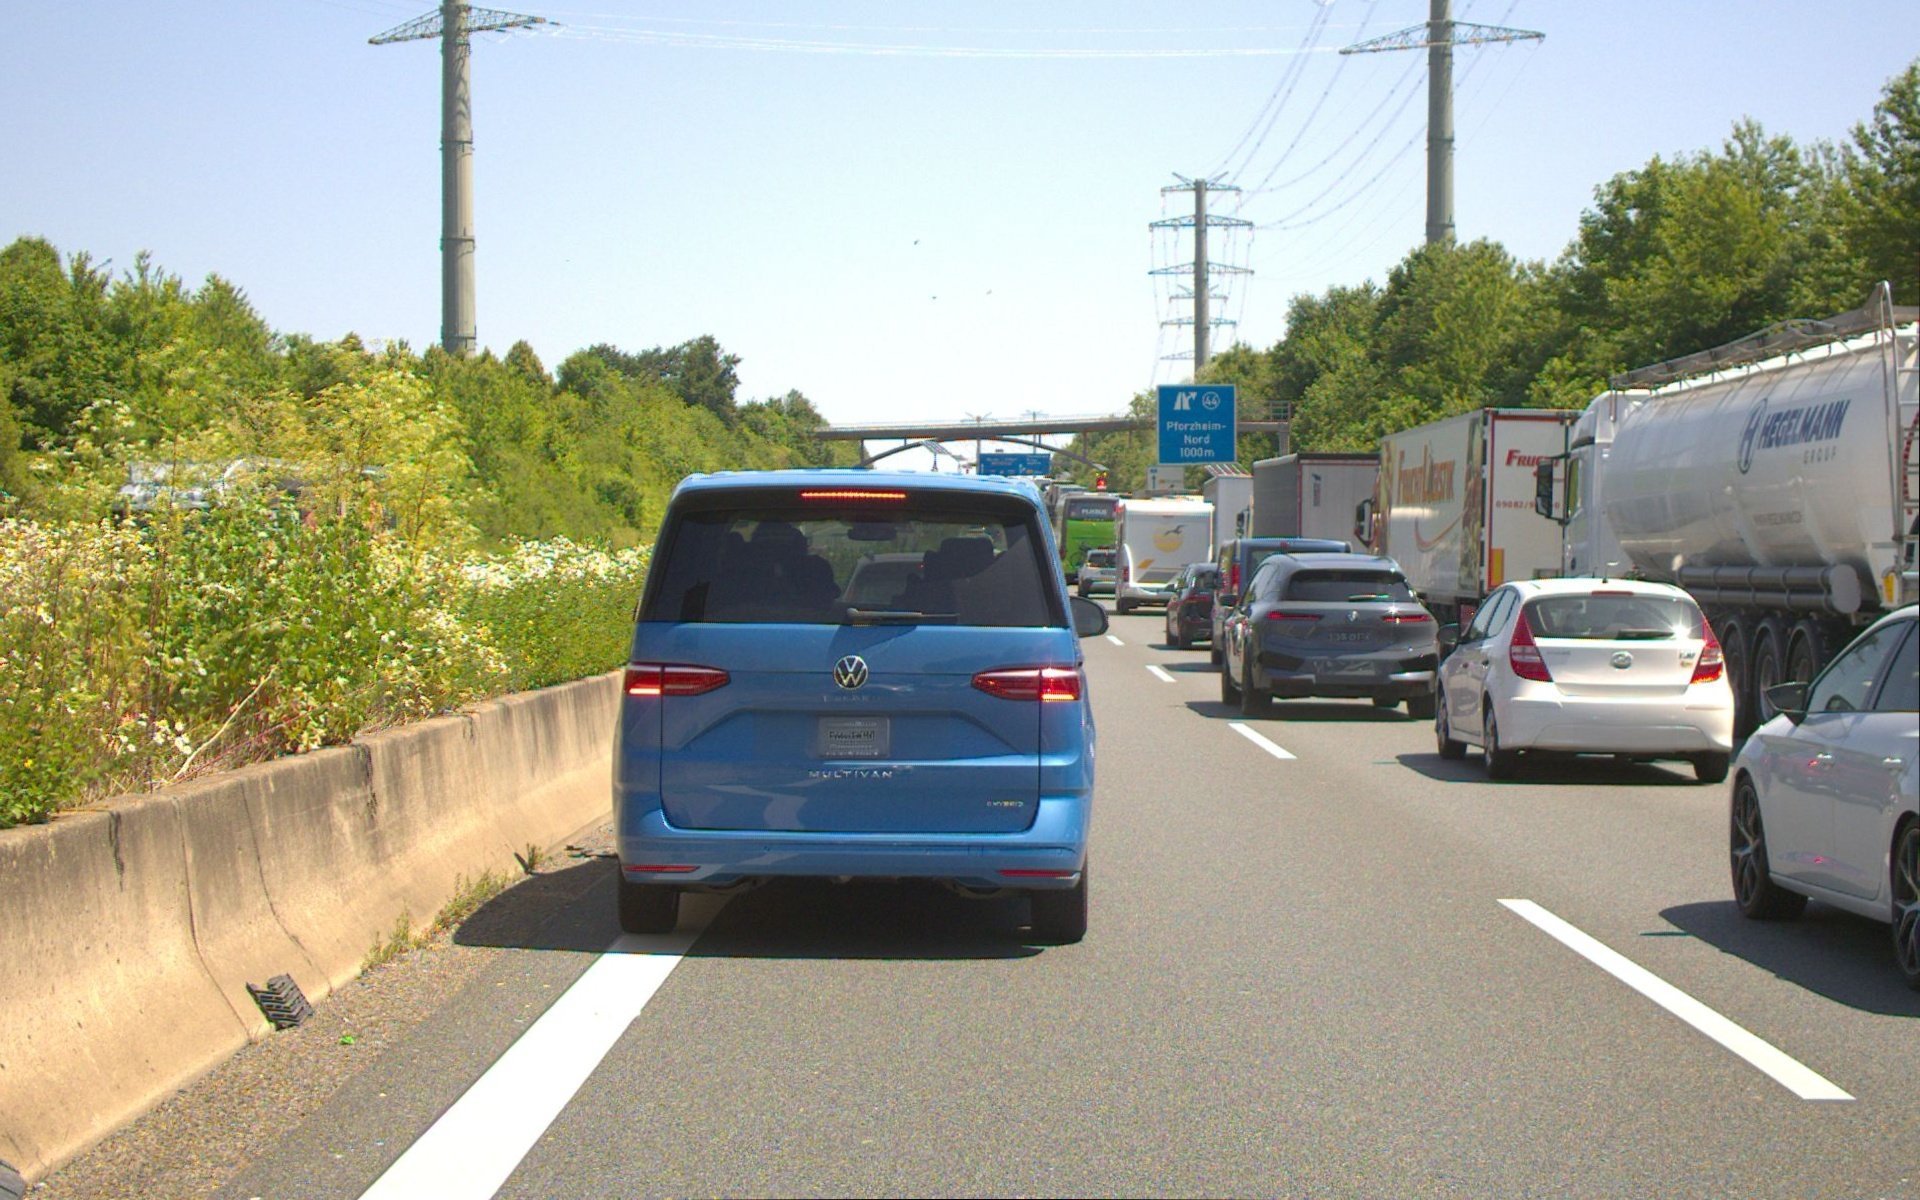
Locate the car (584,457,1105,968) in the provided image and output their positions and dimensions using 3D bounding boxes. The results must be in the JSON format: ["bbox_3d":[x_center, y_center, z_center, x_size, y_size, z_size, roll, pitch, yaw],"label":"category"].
[{"bbox_3d":[-0.418,0.396,14.886,1.920,1.880,4.000,1,1,0],"label":"car"}]

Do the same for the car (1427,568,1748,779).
[{"bbox_3d":[4.713,0.527,26.330,1.817,1.480,4.000,0,0,2],"label":"car"}]

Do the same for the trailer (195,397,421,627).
[{"bbox_3d":[-14.980,-1.931,79.814,3.322,5.030,9.590,0,0,1],"label":"trailer"}]

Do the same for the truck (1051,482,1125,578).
[{"bbox_3d":[5.208,-2.799,141.411,2.895,3.754,10.140,0,0,1],"label":"truck"}]

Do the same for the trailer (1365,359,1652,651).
[{"bbox_3d":[9.117,-1.508,58.758,2.912,4.453,12.154,0,0,0],"label":"trailer"}]

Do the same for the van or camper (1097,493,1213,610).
[{"bbox_3d":[5.183,-1.260,92.472,2.957,3.012,7.102,0,0,2],"label":"van or camper"}]

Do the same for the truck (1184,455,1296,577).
[{"bbox_3d":[9.195,-2.672,114.227,2.895,3.754,13.344,0,0,1],"label":"truck"}]

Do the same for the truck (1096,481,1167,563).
[{"bbox_3d":[9.820,-4.413,197.918,3.566,4.502,10.293,0,0,0],"label":"truck"}]

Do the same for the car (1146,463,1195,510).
[{"bbox_3d":[9.445,-5.085,154.617,1.993,2.007,4.000,0,0,1],"label":"car"}]

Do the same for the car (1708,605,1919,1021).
[{"bbox_3d":[4.209,0.734,13.305,1.747,1.438,4.313,0,0,1],"label":"car"}]

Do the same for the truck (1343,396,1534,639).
[{"bbox_3d":[9.107,-1.547,65.921,2.912,4.453,5.142,0,0,0],"label":"truck"}]

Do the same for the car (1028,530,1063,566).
[{"bbox_3d":[5.109,-3.107,205.604,1.993,2.119,4.000,0,0,0],"label":"car"}]

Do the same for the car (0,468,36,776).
[{"bbox_3d":[-7.639,0.154,22.473,1.993,2.139,4.600,0,0,-1],"label":"car"}]

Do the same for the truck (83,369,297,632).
[{"bbox_3d":[-15.122,-1.924,67.814,3.302,5.033,4.033,0,0,0],"label":"truck"}]

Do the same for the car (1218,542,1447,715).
[{"bbox_3d":[3.884,0.295,36.569,1.999,1.709,4.625,0,0,1],"label":"car"}]

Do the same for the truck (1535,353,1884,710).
[{"bbox_3d":[8.552,-0.762,39.860,2.793,3.823,5.572,0,0,0],"label":"truck"}]

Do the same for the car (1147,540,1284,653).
[{"bbox_3d":[4.563,-0.051,61.891,1.923,1.919,4.236,-1,0,-2],"label":"car"}]

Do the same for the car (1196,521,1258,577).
[{"bbox_3d":[9.752,-1.865,125.793,1.993,2.007,4.000,0,0,1],"label":"car"}]

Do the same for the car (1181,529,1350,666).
[{"bbox_3d":[4.502,-0.021,51.239,1.923,1.919,4.236,-1,0,-2],"label":"car"}]

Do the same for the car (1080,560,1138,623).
[{"bbox_3d":[4.868,-0.273,112.682,1.836,1.992,4.000,-1,0,2],"label":"car"}]

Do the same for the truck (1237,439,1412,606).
[{"bbox_3d":[8.821,-1.764,85.114,3.006,3.754,15.712,0,0,1],"label":"truck"}]

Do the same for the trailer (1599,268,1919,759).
[{"bbox_3d":[8.529,-0.728,32.580,2.761,3.832,11.486,0,0,0],"label":"trailer"}]
